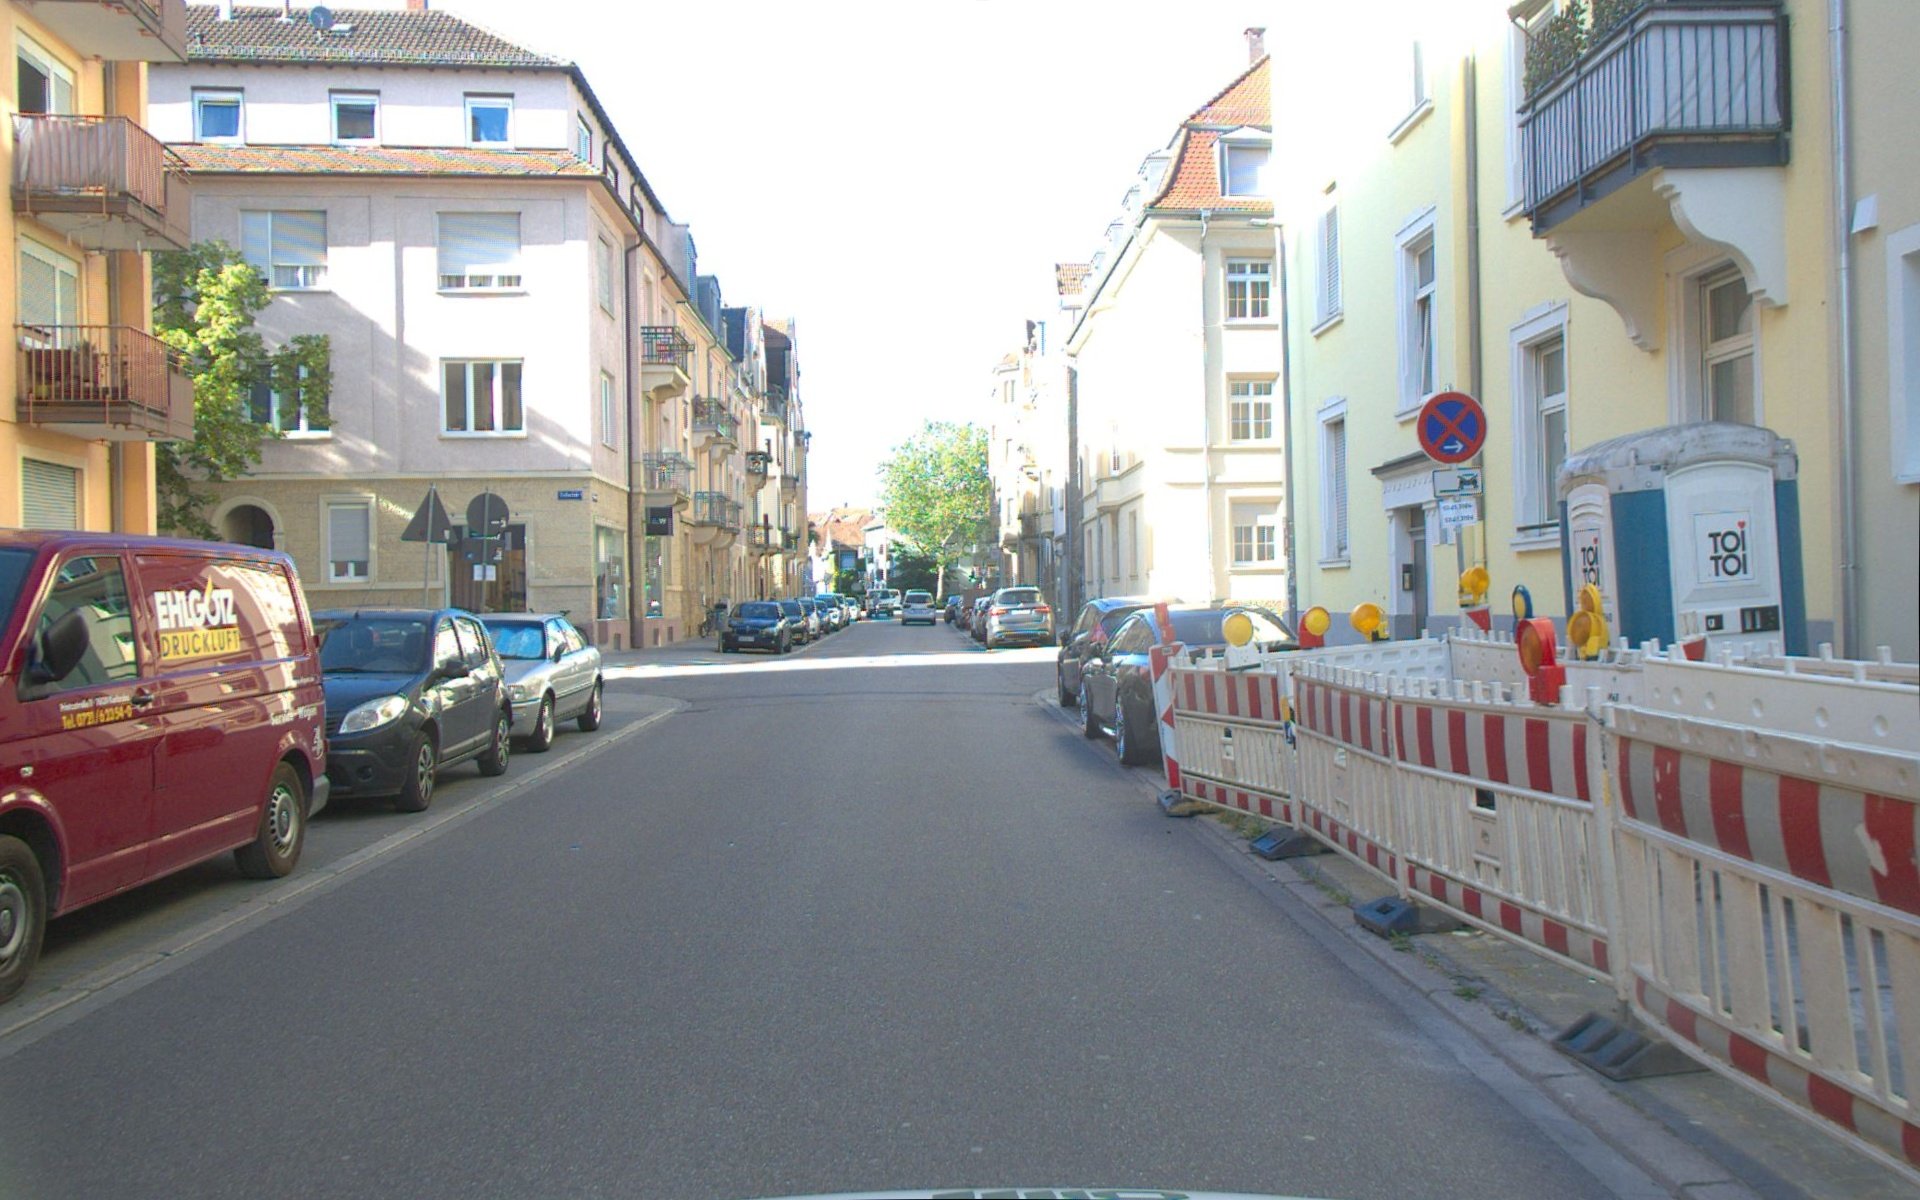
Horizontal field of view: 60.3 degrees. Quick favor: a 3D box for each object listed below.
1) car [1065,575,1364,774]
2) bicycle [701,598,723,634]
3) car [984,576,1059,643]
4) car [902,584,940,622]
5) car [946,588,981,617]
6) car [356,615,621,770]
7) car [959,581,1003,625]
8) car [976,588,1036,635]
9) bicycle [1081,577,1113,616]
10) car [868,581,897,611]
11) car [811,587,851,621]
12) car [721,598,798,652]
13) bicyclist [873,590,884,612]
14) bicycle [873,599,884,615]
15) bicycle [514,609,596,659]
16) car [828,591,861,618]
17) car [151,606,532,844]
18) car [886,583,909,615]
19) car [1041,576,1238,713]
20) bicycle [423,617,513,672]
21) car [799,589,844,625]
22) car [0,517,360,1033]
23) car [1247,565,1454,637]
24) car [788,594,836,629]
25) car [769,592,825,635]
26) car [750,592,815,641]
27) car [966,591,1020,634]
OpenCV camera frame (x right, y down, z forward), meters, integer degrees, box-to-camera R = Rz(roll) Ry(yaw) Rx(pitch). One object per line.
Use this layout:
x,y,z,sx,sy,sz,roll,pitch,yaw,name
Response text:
2.270,0.596,16.232,1.766,1.496,5.108,-5,1,-3,car
-9.349,0.597,62.317,0.530,1.324,1.866,-1,0,-1,bicycle
1.672,0.302,46.627,1.874,1.673,4.773,-4,-1,0,car
-2.096,0.170,88.706,1.963,1.947,4.485,0,0,-2,car
0.166,0.158,94.292,1.802,1.456,4.027,-4,-1,-1,car
-5.094,0.928,18.493,1.727,1.401,4.477,-2,0,-1,car
0.922,0.167,75.483,1.801,1.818,4.027,-3,-1,-1,car
1.546,0.438,57.312,1.802,1.456,4.027,-4,-1,-1,car
4.630,-0.115,56.115,0.746,1.268,2.591,-2,0,-2,bicycle
-5.522,-0.263,117.848,1.963,2.035,4.484,0,-1,-3,car
-6.934,0.223,89.166,1.963,1.819,4.484,0,0,-3,car
-5.598,0.688,46.574,1.645,1.451,4.273,0,0,0,car
-5.419,0.083,109.580,0.649,1.409,0.753,-4,0,-3,bicyclist
-5.409,0.468,109.635,0.649,1.036,2.065,-4,0,-3,bicycle
-9.957,0.831,40.699,1.863,1.155,0.647,-2,2,-9,bicycle
-7.223,0.276,104.124,1.963,1.633,4.484,0,0,-3,car
-4.827,0.873,13.539,1.728,1.528,3.998,-3,0,-3,car
-5.553,-0.051,147.292,1.801,2.578,4.174,-4,-1,-1,car
2.258,0.526,21.879,1.729,1.496,4.080,-5,1,-5,car
-11.297,1.007,38.011,1.861,1.155,0.526,-2,2,-4,bicycle
-6.523,0.331,78.138,1.963,1.647,4.484,0,0,-3,car
-4.586,0.677,7.944,1.727,1.959,4.933,-2,0,-2,car
9.352,0.030,39.754,4.453,1.494,1.824,-2,-2,-9,car
-6.560,0.498,73.572,1.939,1.508,4.325,0,0,-3,car
-6.367,0.524,64.979,1.963,1.647,4.484,0,0,-3,car
-6.099,0.554,57.122,1.963,1.610,4.484,0,0,-3,car
1.228,0.501,62.692,1.802,1.456,4.027,-4,-1,-1,car
